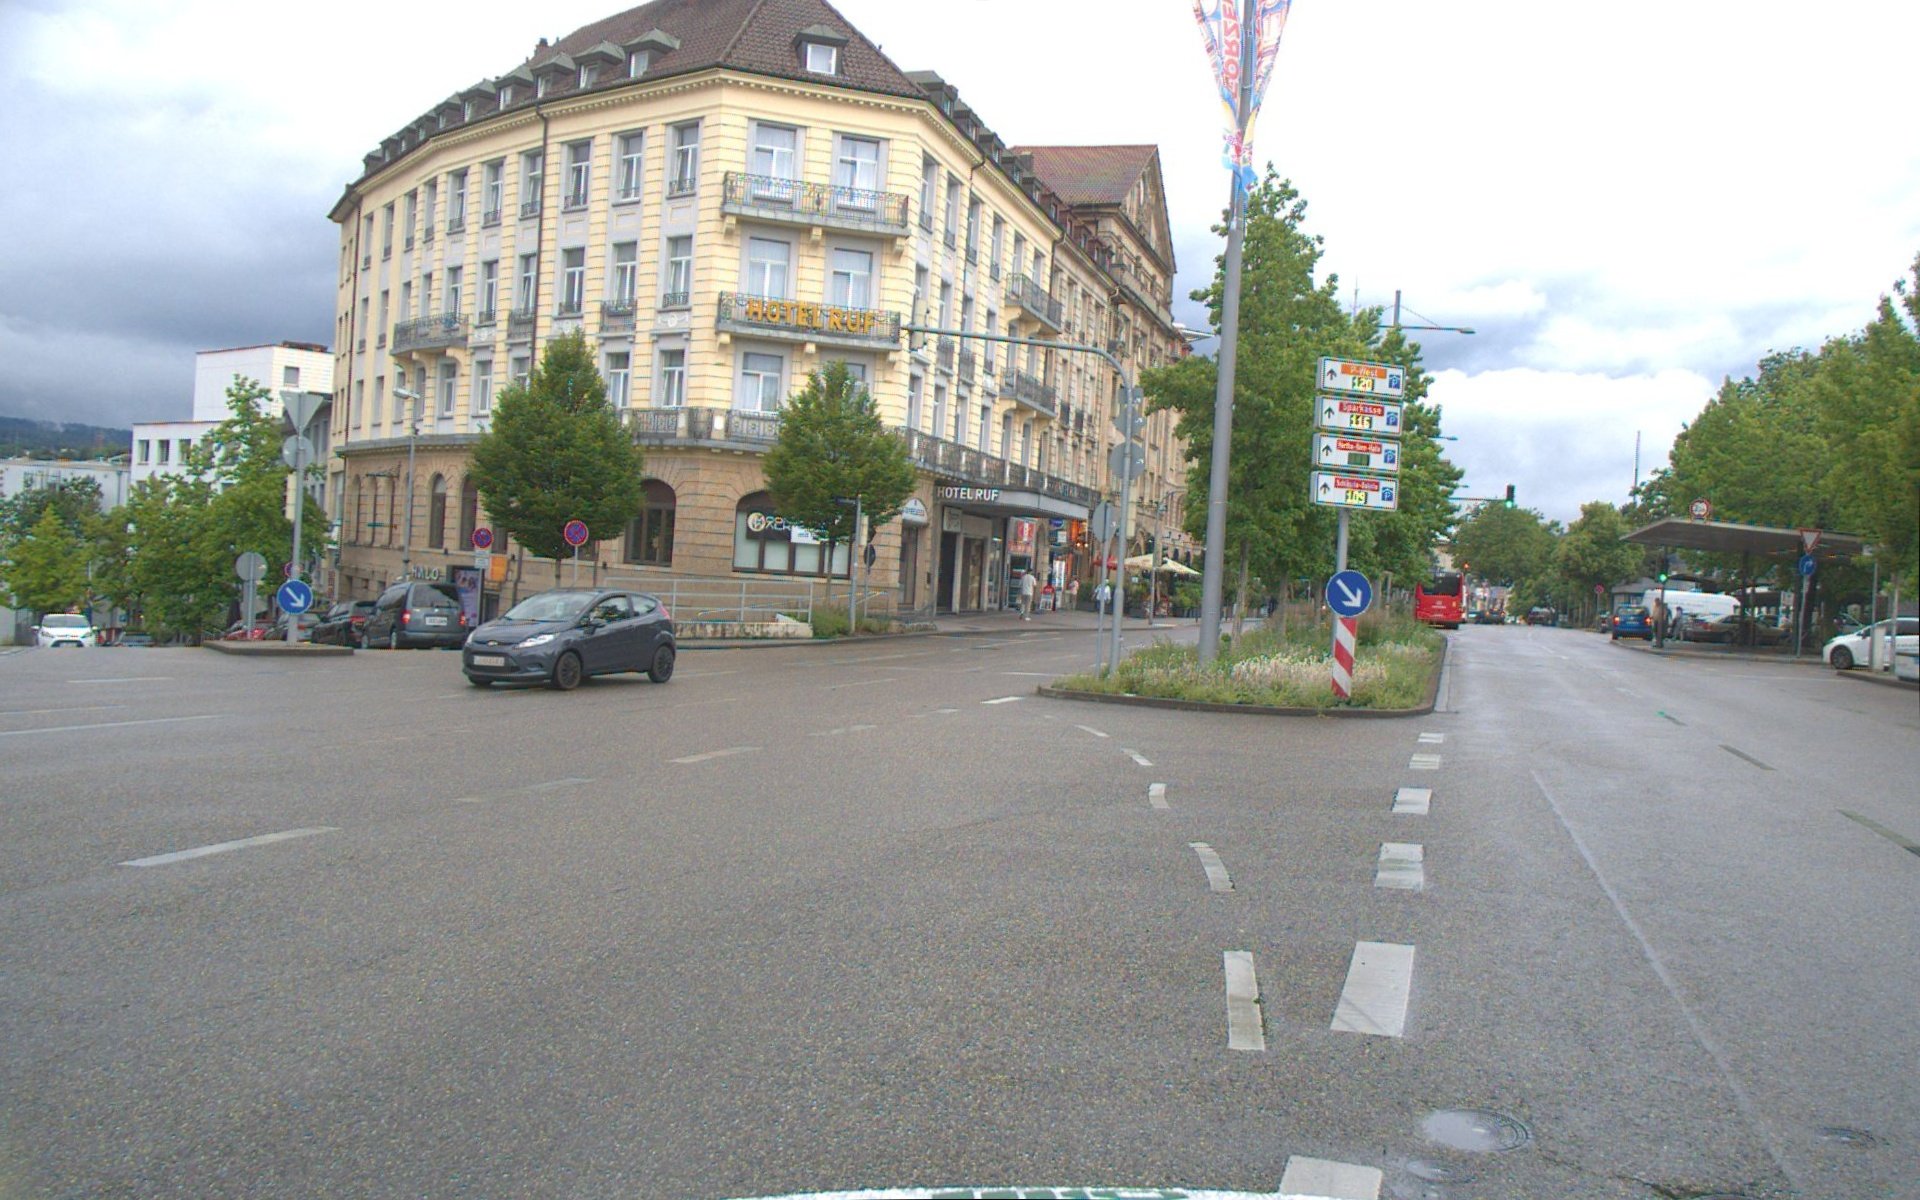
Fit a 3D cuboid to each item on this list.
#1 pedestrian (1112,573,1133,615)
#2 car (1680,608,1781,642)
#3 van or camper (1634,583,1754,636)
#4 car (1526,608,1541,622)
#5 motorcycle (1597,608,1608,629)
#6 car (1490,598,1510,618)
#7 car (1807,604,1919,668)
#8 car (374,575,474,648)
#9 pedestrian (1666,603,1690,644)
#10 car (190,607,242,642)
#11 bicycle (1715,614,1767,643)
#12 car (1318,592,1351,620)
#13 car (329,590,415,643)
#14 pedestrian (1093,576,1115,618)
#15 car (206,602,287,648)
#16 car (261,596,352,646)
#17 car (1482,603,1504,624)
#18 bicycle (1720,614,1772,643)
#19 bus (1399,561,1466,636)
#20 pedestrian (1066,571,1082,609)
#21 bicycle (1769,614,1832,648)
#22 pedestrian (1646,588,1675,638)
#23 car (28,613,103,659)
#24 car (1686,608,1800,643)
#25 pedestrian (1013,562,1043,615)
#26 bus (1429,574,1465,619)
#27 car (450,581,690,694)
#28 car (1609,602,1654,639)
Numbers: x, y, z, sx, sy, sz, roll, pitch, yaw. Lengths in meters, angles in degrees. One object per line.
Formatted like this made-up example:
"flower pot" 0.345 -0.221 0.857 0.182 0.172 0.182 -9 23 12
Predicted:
"pedestrian" 6.602 -0.247 67.346 0.667 1.693 0.807 1 0 18
"car" 35.430 1.127 76.099 3.918 1.383 1.859 2 0 -13
"van or camper" 40.822 0.517 92.025 5.837 2.811 2.194 1 0 -10
"car" 69.895 1.830 201.606 1.561 1.588 3.652 1 0 17
"motorcycle" 42.425 1.209 109.247 0.583 1.310 1.953 1 0 23
"car" 57.683 0.869 176.760 1.952 2.049 4.002 1 0 17
"car" 24.713 0.947 43.084 1.733 1.572 4.746 2 0 -22
"car" -14.243 0.289 43.850 1.614 1.790 3.957 1 1 -32
"pedestrian" 33.064 1.093 76.166 0.838 1.867 1.190 2 -1 17
"car" -34.273 1.118 76.185 1.746 1.504 3.958 1 0 -31
"bicycle" 29.832 1.075 63.178 1.790 1.074 0.420 1 0 -1
"car" 28.854 0.469 127.221 1.952 2.049 5.003 1 0 19
"car" -17.565 0.480 49.318 1.614 1.422 3.957 1 1 -32
"pedestrian" 5.884 -0.124 67.631 0.667 1.693 0.807 1 0 20
"car" -25.033 0.848 57.950 1.751 1.504 3.958 1 0 -37
"car" -21.071 0.665 53.284 1.751 1.504 3.948 1 0 -37
"car" 52.308 1.339 162.385 1.952 2.049 4.002 1 0 17
"bicycle" 29.805 1.074 62.717 1.790 1.074 0.420 1 0 -1
"bus" 27.301 -0.070 95.804 3.470 4.049 11.179 1 0 15
"pedestrian" 5.111 -0.432 73.921 0.652 1.693 0.537 1 0 9
"bicycle" 27.678 1.014 54.490 1.789 1.074 0.420 1 0 17
"pedestrian" 25.221 0.466 59.553 0.730 1.777 0.837 2 -1 9
"car" -29.611 1.164 54.701 1.617 1.422 3.948 1 0 -37
"car" 34.331 1.104 72.599 4.101 1.348 1.839 2 0 -2
"pedestrian" 2.423 -0.404 58.983 0.861 1.844 0.751 1 0 17
"bus" 42.676 -0.224 145.074 2.746 3.812 10.452 0 -1 15
"car" -5.772 0.534 24.950 1.642 1.539 3.864 1 0 20
"car" 31.181 0.949 76.887 1.820 1.596 4.000 2 0 21
